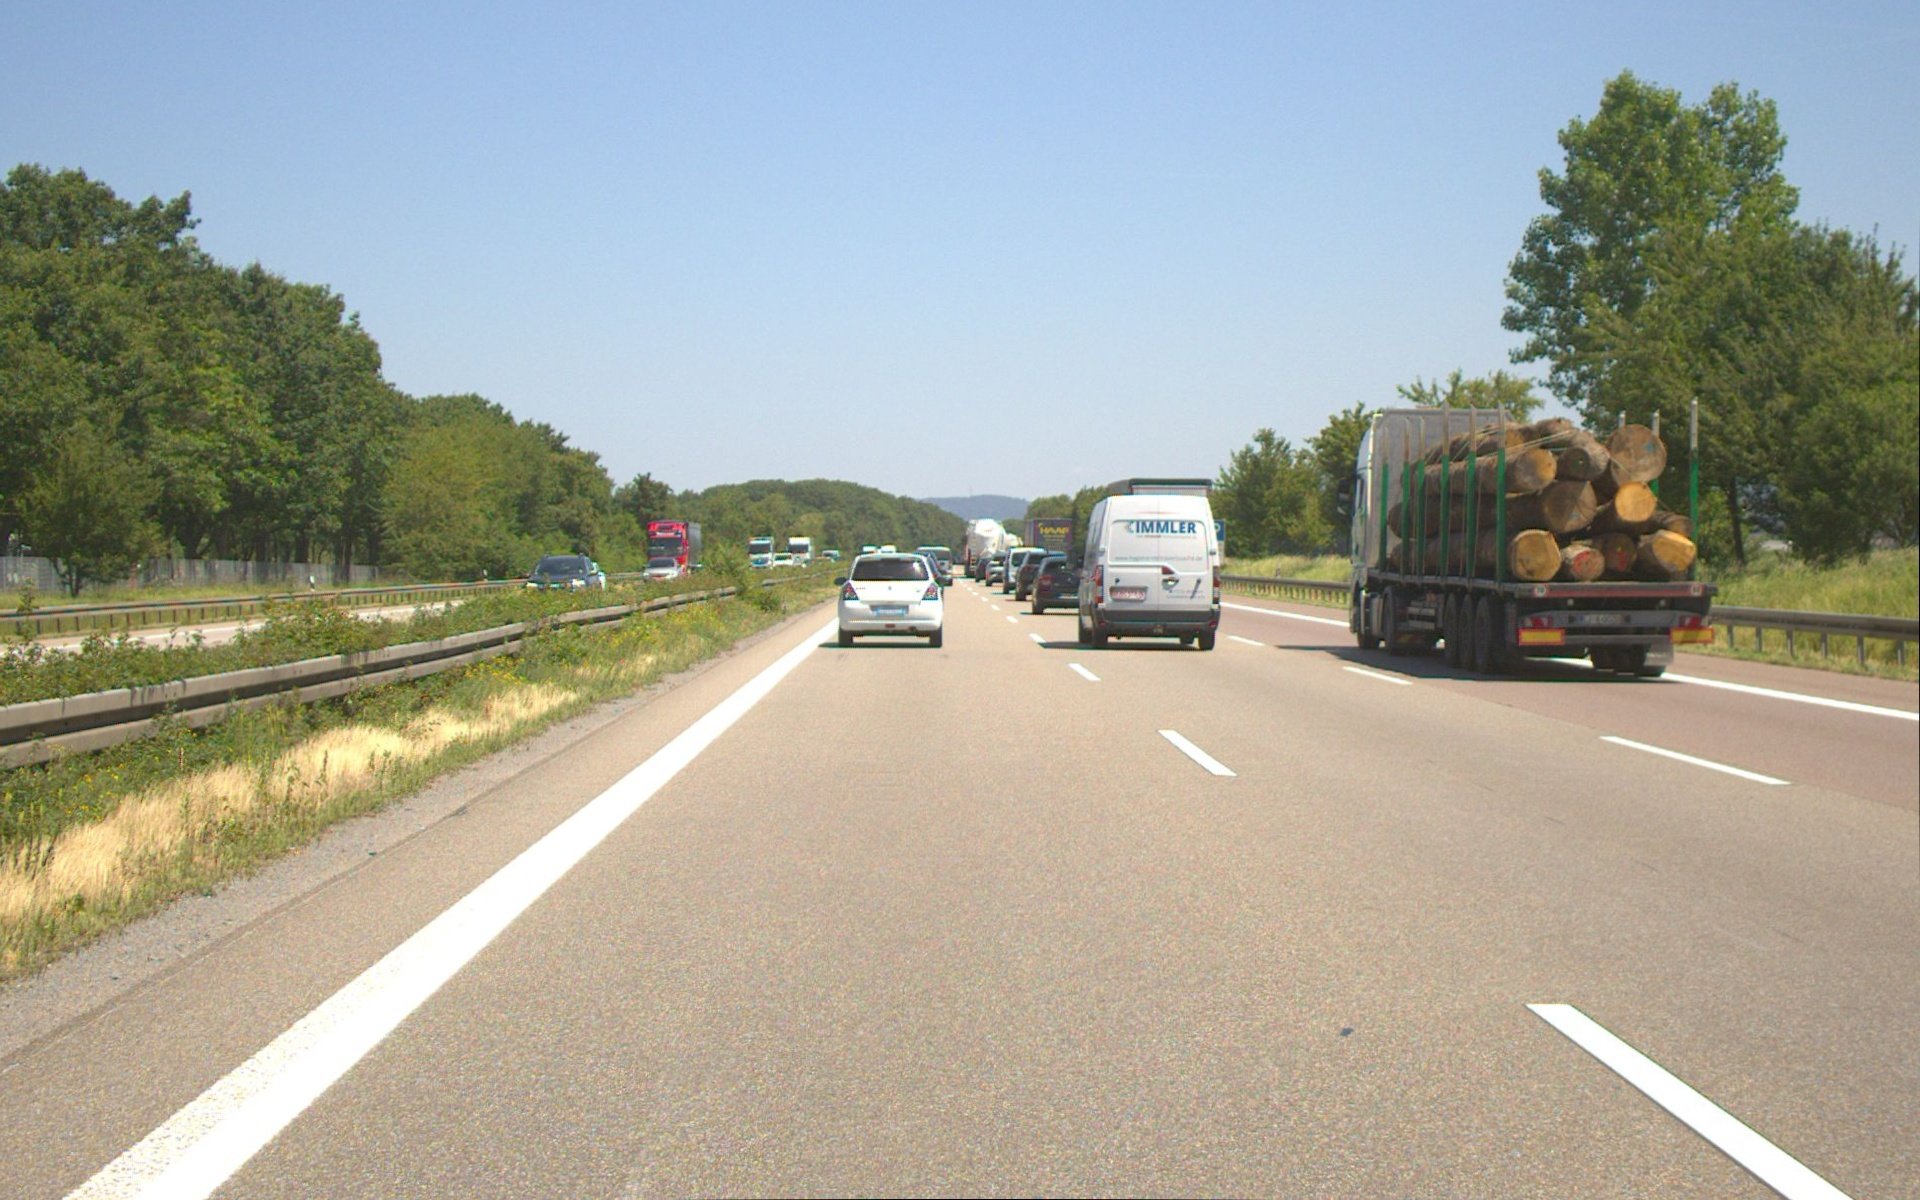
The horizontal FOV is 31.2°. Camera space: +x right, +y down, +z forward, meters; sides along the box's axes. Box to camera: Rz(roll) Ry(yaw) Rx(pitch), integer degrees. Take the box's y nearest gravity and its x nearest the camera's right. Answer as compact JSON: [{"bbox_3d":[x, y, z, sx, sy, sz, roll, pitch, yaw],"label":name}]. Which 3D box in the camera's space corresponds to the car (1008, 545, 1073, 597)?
[{"bbox_3d":[2.625,-0.959,113.120,1.857,1.646,4.000,1,1,-2],"label":"car"}]

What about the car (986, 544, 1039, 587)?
[{"bbox_3d":[2.037,-1.362,134.914,1.857,1.646,4.000,1,1,-2],"label":"car"}]

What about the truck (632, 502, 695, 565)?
[{"bbox_3d":[-19.143,-4.287,222.505,3.439,3.917,6.221,-2,1,0],"label":"truck"}]

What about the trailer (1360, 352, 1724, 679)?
[{"bbox_3d":[7.885,-1.145,48.741,2.653,3.945,13.637,1,1,-1],"label":"trailer"}]

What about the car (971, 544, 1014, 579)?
[{"bbox_3d":[1.553,-1.894,166.720,1.857,1.646,4.000,1,1,-2],"label":"car"}]

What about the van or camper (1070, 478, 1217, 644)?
[{"bbox_3d":[3.004,-0.662,57.576,2.058,2.613,5.985,1,1,-1],"label":"van or camper"}]

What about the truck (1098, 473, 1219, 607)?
[{"bbox_3d":[6.699,-2.048,118.609,3.079,4.194,16.844,2,1,0],"label":"truck"}]

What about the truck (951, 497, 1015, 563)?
[{"bbox_3d":[1.473,-4.645,231.032,3.257,4.194,16.845,2,1,-3],"label":"truck"}]

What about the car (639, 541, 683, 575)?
[{"bbox_3d":[-15.414,-2.179,177.612,1.846,1.676,4.815,-2,1,-1],"label":"car"}]

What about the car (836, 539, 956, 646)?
[{"bbox_3d":[-1.081,-0.151,56.406,1.857,1.646,4.000,2,1,-2],"label":"car"}]

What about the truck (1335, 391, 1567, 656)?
[{"bbox_3d":[7.823,-1.219,55.580,2.670,3.981,6.636,1,1,-1],"label":"truck"}]

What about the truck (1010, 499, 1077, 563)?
[{"bbox_3d":[5.736,-4.757,238.946,3.257,4.194,16.845,2,1,-3],"label":"truck"}]

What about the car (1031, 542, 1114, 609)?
[{"bbox_3d":[2.865,-0.649,88.313,1.857,1.646,4.000,1,1,-2],"label":"car"}]

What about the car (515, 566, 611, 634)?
[{"bbox_3d":[-10.677,-0.026,92.771,1.993,1.634,4.859,-4,1,-1],"label":"car"}]

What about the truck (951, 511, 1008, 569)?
[{"bbox_3d":[1.430,-4.580,262.977,3.257,4.194,16.845,2,1,-3],"label":"truck"}]

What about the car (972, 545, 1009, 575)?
[{"bbox_3d":[1.674,-2.228,191.485,1.857,1.646,4.000,1,1,-2],"label":"car"}]
